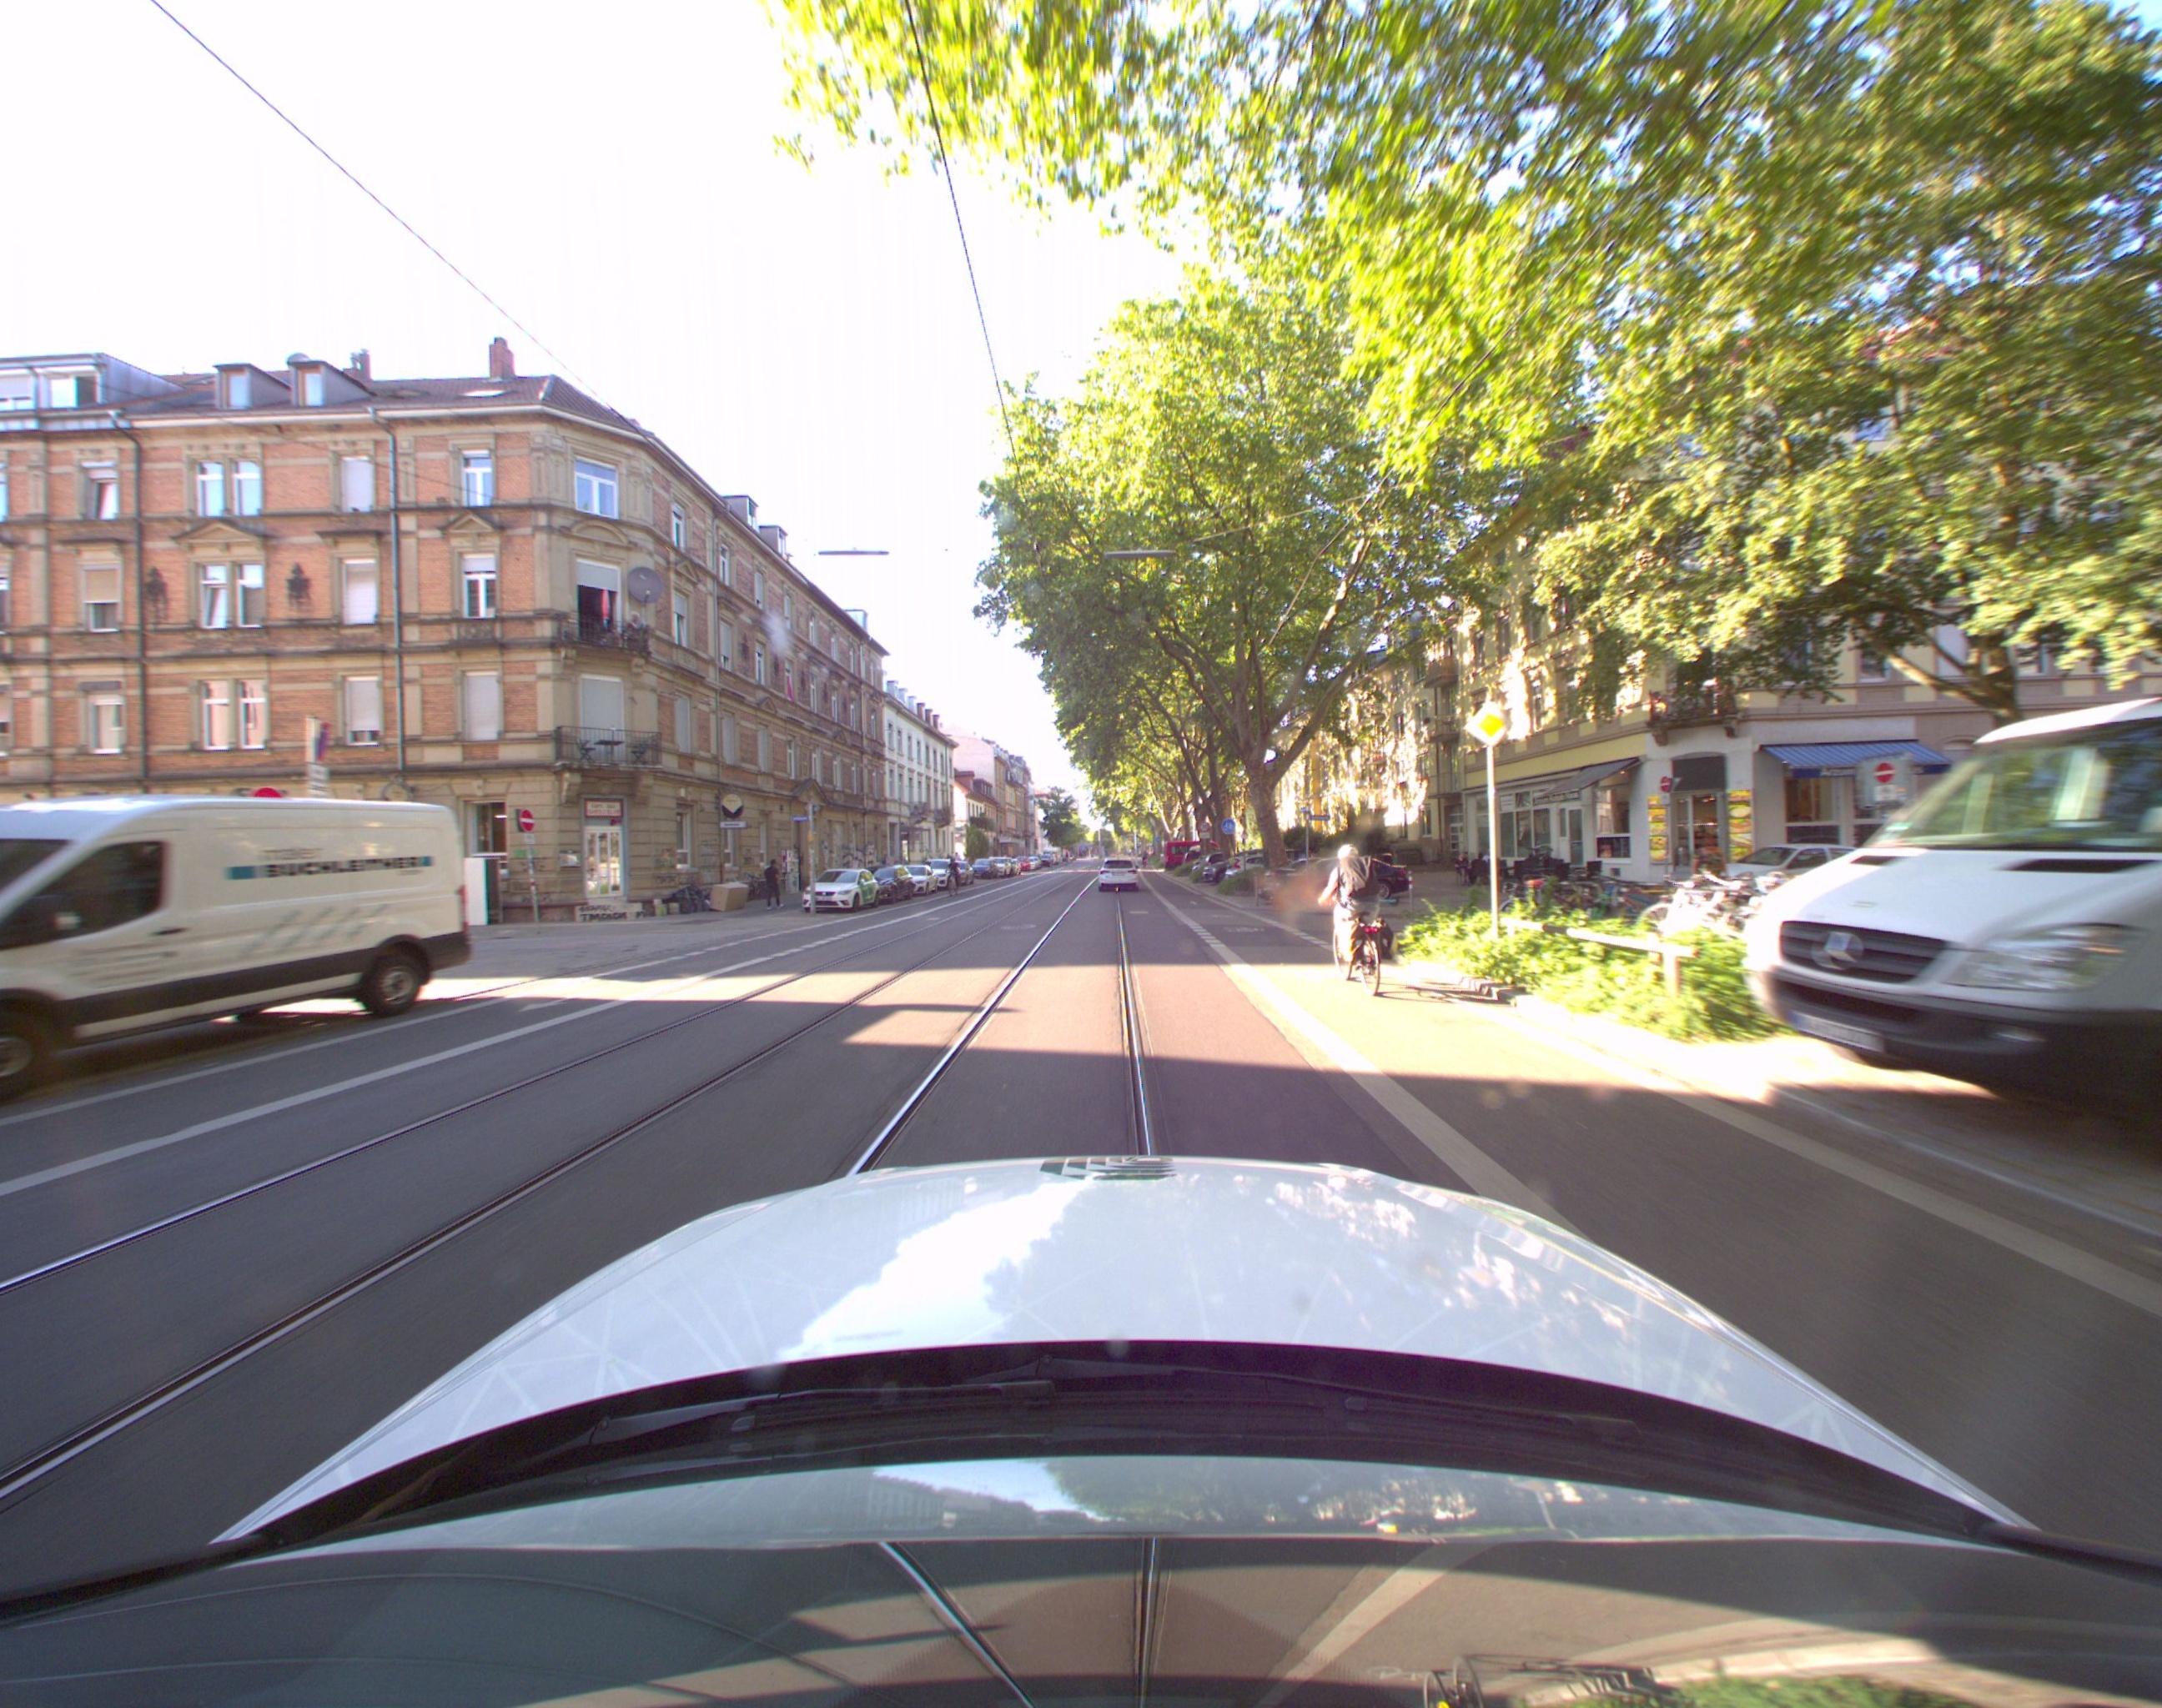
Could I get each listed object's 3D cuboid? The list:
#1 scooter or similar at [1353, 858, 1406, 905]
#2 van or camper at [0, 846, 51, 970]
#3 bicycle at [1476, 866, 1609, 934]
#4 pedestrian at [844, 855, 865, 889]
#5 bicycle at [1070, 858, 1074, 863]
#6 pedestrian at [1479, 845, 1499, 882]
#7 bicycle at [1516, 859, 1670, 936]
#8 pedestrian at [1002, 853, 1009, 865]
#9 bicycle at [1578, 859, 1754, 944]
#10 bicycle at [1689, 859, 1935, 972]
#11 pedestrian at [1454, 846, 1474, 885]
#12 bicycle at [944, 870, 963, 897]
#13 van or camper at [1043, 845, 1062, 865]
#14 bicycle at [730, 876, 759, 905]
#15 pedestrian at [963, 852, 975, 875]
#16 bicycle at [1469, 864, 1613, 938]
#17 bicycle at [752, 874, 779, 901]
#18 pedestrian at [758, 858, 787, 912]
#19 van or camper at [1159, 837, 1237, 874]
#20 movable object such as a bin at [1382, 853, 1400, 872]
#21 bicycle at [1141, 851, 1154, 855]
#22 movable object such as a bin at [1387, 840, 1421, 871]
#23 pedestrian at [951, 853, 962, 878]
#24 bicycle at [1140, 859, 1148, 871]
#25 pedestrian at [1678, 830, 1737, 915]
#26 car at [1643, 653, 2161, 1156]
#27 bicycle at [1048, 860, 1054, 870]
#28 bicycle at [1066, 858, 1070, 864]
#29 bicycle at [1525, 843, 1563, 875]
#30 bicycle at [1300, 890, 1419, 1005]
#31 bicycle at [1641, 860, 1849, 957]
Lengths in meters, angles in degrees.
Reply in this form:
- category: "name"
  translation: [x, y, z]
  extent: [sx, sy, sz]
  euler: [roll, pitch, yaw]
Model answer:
- category: "scooter or similar"
  translation: [8.233, 0.762, 22.494]
  extent: [1.297, 1.256, 0.342]
  euler: [-2, 0, 15]
- category: "van or camper"
  translation: [-23.371, 1.135, 15.632]
  extent: [5.076, 2.386, 2.025]
  euler: [-2, 0, 6]
- category: "bicycle"
  translation: [8.230, 0.822, 14.579]
  extent: [2.029, 1.179, 0.414]
  euler: [-1, -1, 10]
- category: "pedestrian"
  translation: [-11.384, 0.904, 40.952]
  extent: [0.656, 1.665, 0.773]
  euler: [-1, -1, 34]
- category: "bicycle"
  translation: [-1.669, 1.209, 150.603]
  extent: [0.496, 0.943, 1.924]
  euler: [-4, 0, 4]
- category: "pedestrian"
  translation: [14.852, 0.346, 29.660]
  extent: [0.480, 1.328, 0.691]
  euler: [-2, 0, 39]
- category: "bicycle"
  translation: [8.073, 0.689, 12.903]
  extent: [2.029, 1.179, 0.414]
  euler: [-1, -1, 10]
- category: "pedestrian"
  translation: [-10.113, 0.669, 109.165]
  extent: [0.773, 1.634, 0.654]
  euler: [0, 0, -13]
- category: "bicycle"
  translation: [8.491, 0.683, 11.915]
  extent: [2.024, 1.179, 0.415]
  euler: [-2, -1, 23]
- category: "bicycle"
  translation: [8.247, 0.668, 9.315]
  extent: [2.022, 1.179, 0.416]
  euler: [-2, -1, 39]
- category: "pedestrian"
  translation: [13.983, 0.418, 29.752]
  extent: [0.480, 1.375, 1.063]
  euler: [-2, 0, 33]
- category: "bicycle"
  translation: [-5.915, 1.363, 37.854]
  extent: [0.419, 1.150, 2.233]
  euler: [-3, -1, 2]
- category: "van or camper"
  translation: [-4.574, 0.144, 131.590]
  extent: [2.206, 3.140, 7.121]
  euler: [-1, 0, 4]
- category: "bicycle"
  translation: [-13.270, 1.427, 32.151]
  extent: [0.371, 1.034, 1.848]
  euler: [-2, 0, 0]
- category: "pedestrian"
  translation: [-9.213, 0.785, 67.021]
  extent: [0.757, 1.821, 0.830]
  euler: [-2, 0, -1]
- category: "bicycle"
  translation: [7.576, 0.781, 13.478]
  extent: [2.029, 1.179, 0.414]
  euler: [-1, -1, 10]
- category: "bicycle"
  translation: [-13.204, 1.378, 34.117]
  extent: [0.371, 1.034, 1.848]
  euler: [-2, 0, 0]
- category: "pedestrian"
  translation: [-10.692, 1.059, 28.228]
  extent: [0.683, 1.801, 1.054]
  euler: [0, 0, -7]
- category: "van or camper"
  translation: [9.253, 0.074, 64.691]
  extent: [5.796, 2.519, 2.288]
  euler: [-4, 1, 0]
- category: "movable object such as a bin"
  translation: [15.747, 0.423, 41.373]
  extent: [0.745, 0.943, 0.466]
  euler: [-3, 0, 2]
- category: "bicycle"
  translation: [14.892, -0.188, 183.197]
  extent: [2.748, 0.999, 0.595]
  euler: [0, 0, 17]
- category: "movable object such as a bin"
  translation: [15.692, 0.073, 39.579]
  extent: [1.162, 1.437, 1.118]
  euler: [-3, 0, 2]
- category: "pedestrian"
  translation: [-10.251, 0.912, 67.105]
  extent: [0.757, 2.013, 0.830]
  euler: [-2, 0, 0]
- category: "bicycle"
  translation: [6.170, 1.068, 79.811]
  extent: [0.677, 1.155, 2.966]
  euler: [0, 0, 3]
- category: "pedestrian"
  translation: [12.551, 0.369, 16.326]
  extent: [0.594, 1.651, 0.703]
  euler: [-1, -1, -24]
- category: "car"
  translation: [6.924, 0.145, 4.611]
  extent: [5.965, 2.282, 2.008]
  euler: [-2, 1, 3]
- category: "bicycle"
  translation: [-3.374, 1.209, 93.134]
  extent: [0.479, 1.086, 1.848]
  euler: [-2, 0, 3]
- category: "bicycle"
  translation: [-2.302, 1.292, 143.772]
  extent: [0.482, 1.047, 2.042]
  euler: [-4, 0, 4]
- category: "bicycle"
  translation: [17.519, 0.177, 30.876]
  extent: [0.468, 1.156, 1.747]
  euler: [-3, 0, 3]
- category: "bicycle"
  translation: [3.083, 0.979, 9.298]
  extent: [0.593, 1.004, 2.513]
  euler: [1, 0, 3]
- category: "bicycle"
  translation: [8.516, 0.691, 10.541]
  extent: [2.024, 1.179, 0.415]
  euler: [-2, -1, 23]
